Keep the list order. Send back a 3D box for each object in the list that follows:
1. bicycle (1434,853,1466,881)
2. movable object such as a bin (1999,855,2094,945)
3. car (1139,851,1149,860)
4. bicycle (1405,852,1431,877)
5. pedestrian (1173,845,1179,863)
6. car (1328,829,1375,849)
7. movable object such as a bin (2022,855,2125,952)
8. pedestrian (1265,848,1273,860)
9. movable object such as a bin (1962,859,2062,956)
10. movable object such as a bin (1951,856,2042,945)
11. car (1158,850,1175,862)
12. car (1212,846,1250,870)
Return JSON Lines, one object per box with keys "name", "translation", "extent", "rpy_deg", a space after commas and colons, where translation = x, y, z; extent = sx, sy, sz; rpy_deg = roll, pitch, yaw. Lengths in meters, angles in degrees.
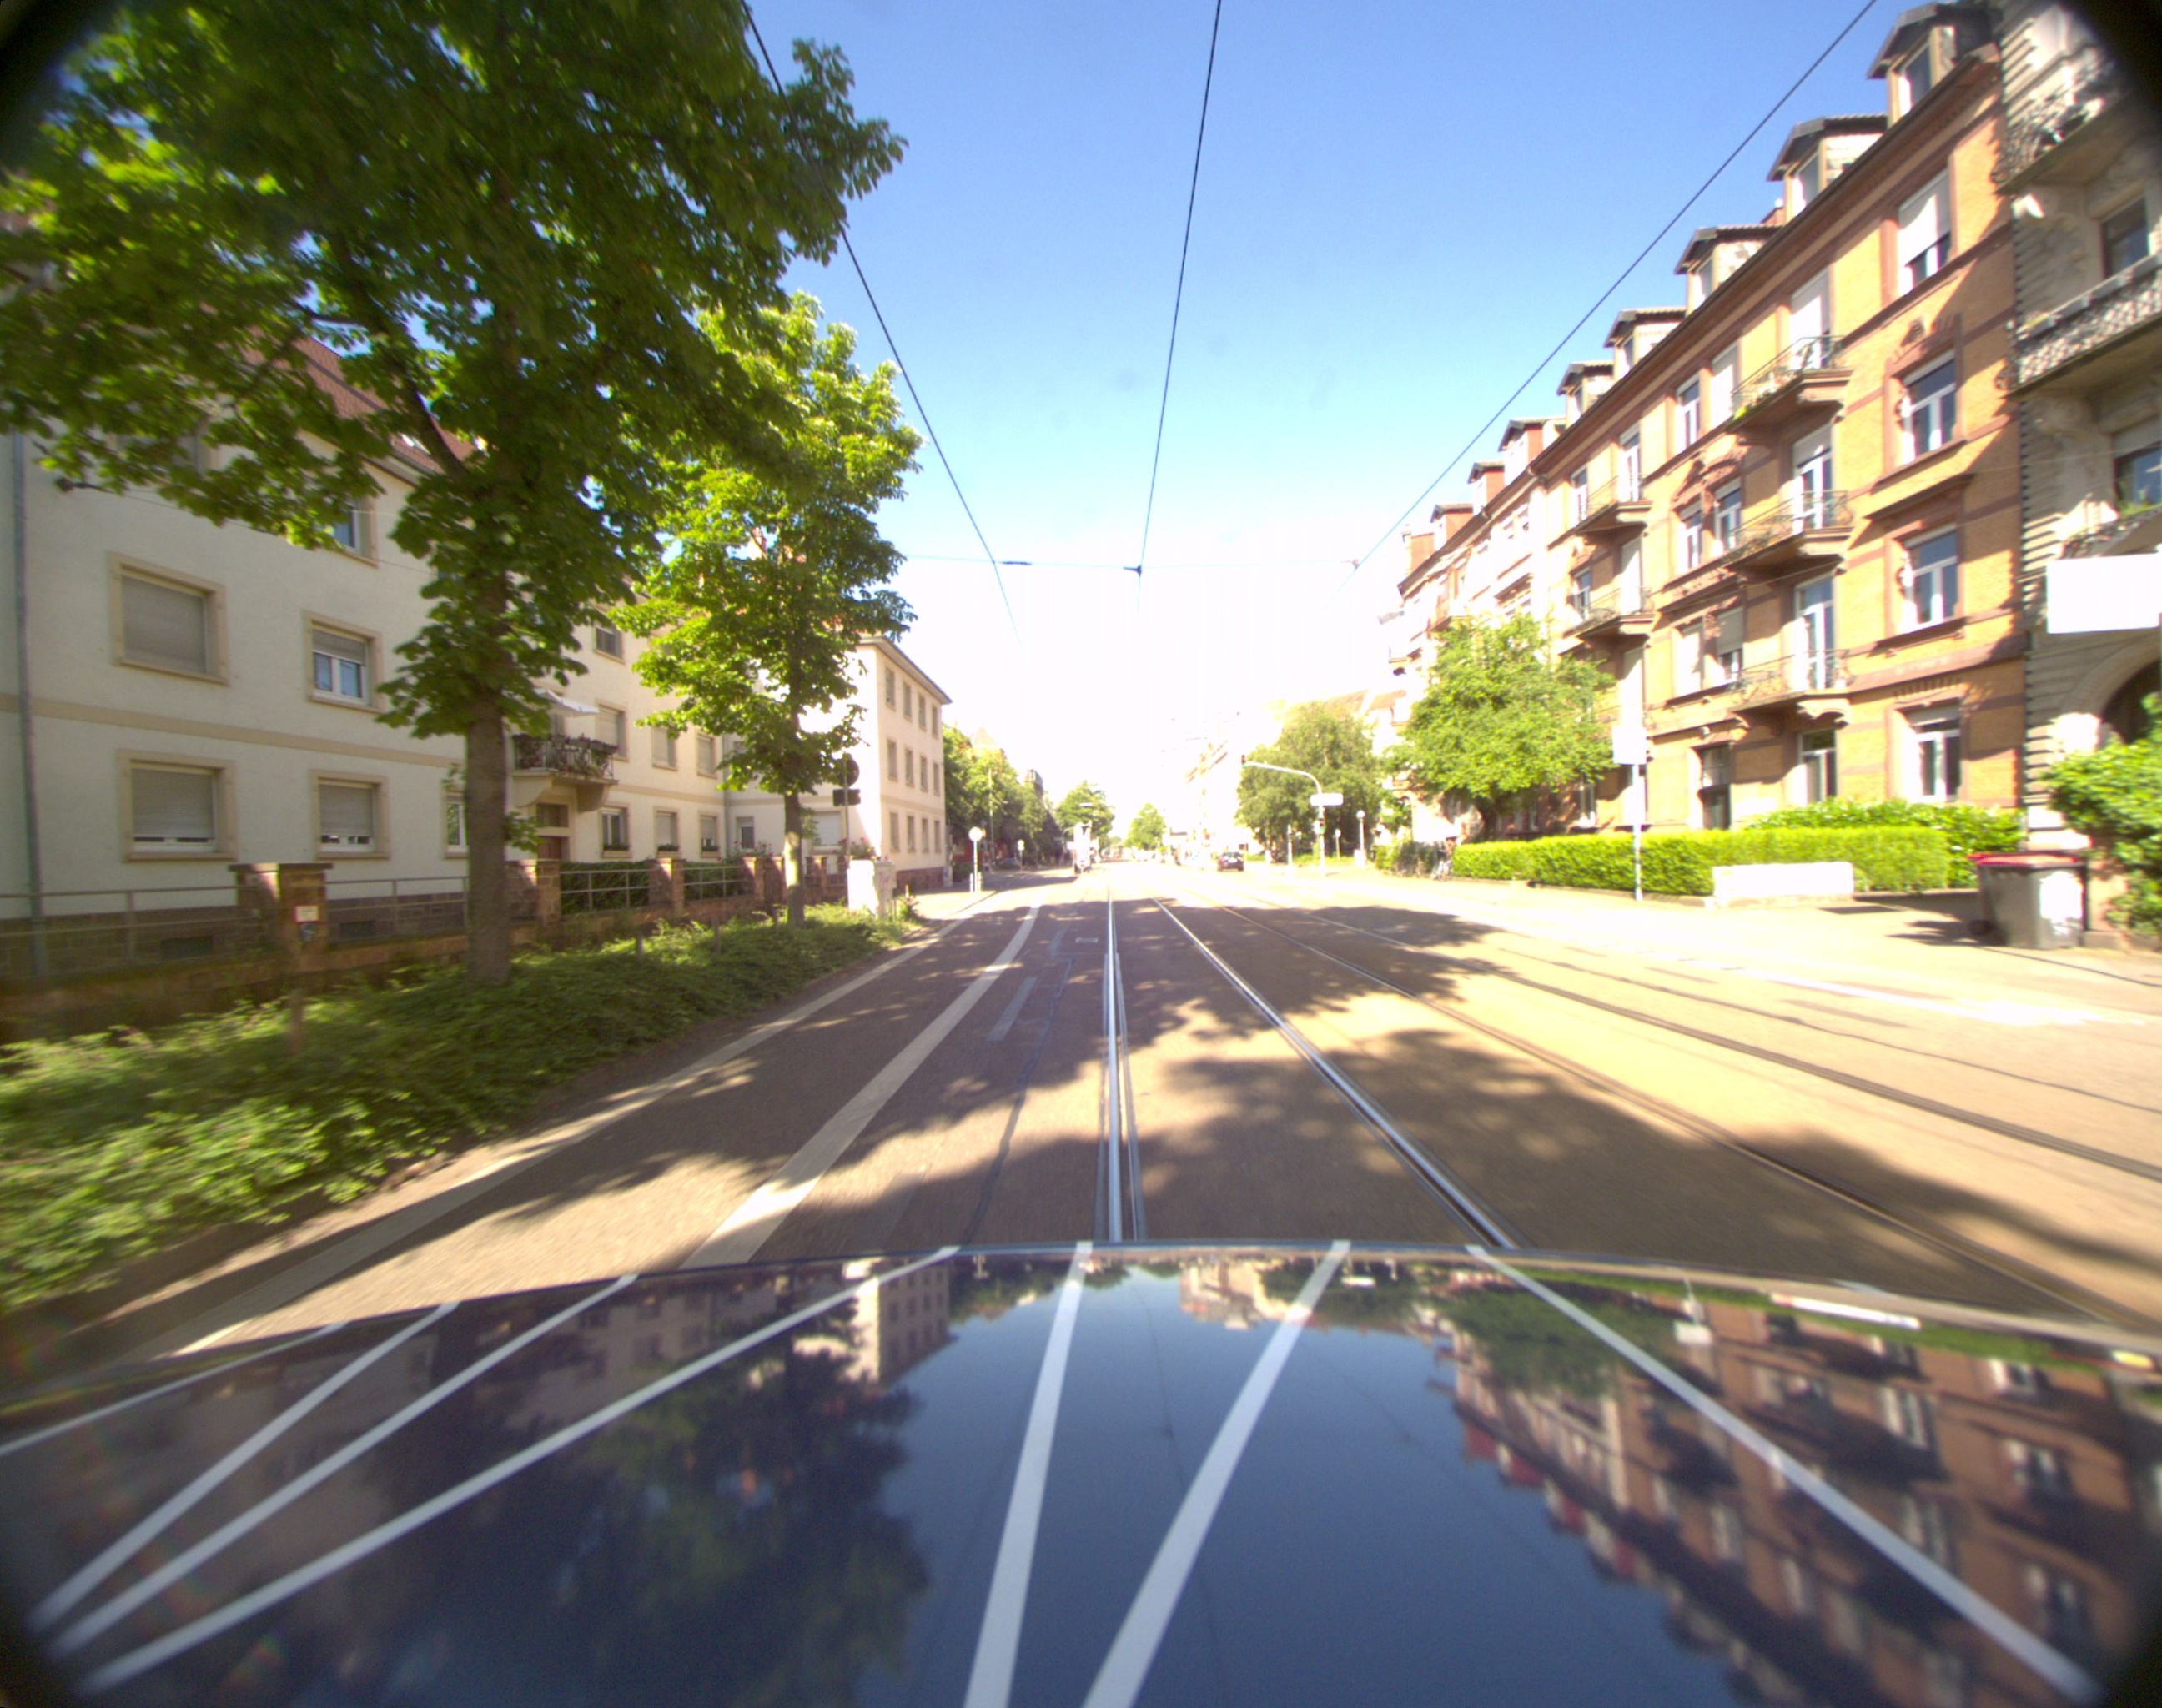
{"name": "bicycle", "translation": [12.979, 0.450, 26.745], "extent": [0.342, 0.920, 1.943], "rpy_deg": [-4, 0, 7]}
{"name": "movable object such as a bin", "translation": [12.298, 0.576, 9.693], "extent": [0.480, 1.079, 0.541], "rpy_deg": [-4, 1, 4]}
{"name": "car", "translation": [11.528, 0.217, 139.439], "extent": [1.694, 1.531, 3.800], "rpy_deg": [-3, 0, 6]}
{"name": "bicycle", "translation": [13.702, 0.410, 30.938], "extent": [0.342, 0.920, 1.943], "rpy_deg": [-4, 0, 7]}
{"name": "pedestrian", "translation": [9.756, -0.012, 78.111], "extent": [0.466, 1.774, 0.673], "rpy_deg": [-2, 1, 1]}
{"name": "car", "translation": [26.648, -1.465, 74.915], "extent": [4.023, 1.687, 1.691], "rpy_deg": [-4, 1, 10]}
{"name": "movable object such as a bin", "translation": [11.779, 0.573, 9.032], "extent": [0.480, 1.079, 0.541], "rpy_deg": [-4, 1, 4]}
{"name": "pedestrian", "translation": [19.666, 0.009, 79.427], "extent": [0.659, 1.274, 0.724], "rpy_deg": [-4, 1, 3]}
{"name": "movable object such as a bin", "translation": [11.086, 0.622, 9.061], "extent": [0.480, 1.079, 0.541], "rpy_deg": [-4, 1, 4]}
{"name": "movable object such as a bin", "translation": [11.723, 0.582, 9.742], "extent": [0.480, 1.079, 0.541], "rpy_deg": [-4, 1, 4]}
{"name": "car", "translation": [11.966, 0.282, 106.737], "extent": [1.902, 1.608, 4.264], "rpy_deg": [-1, 1, 1]}
{"name": "car", "translation": [10.771, 0.270, 54.874], "extent": [1.836, 1.509, 4.967], "rpy_deg": [-5, 0, 3]}
